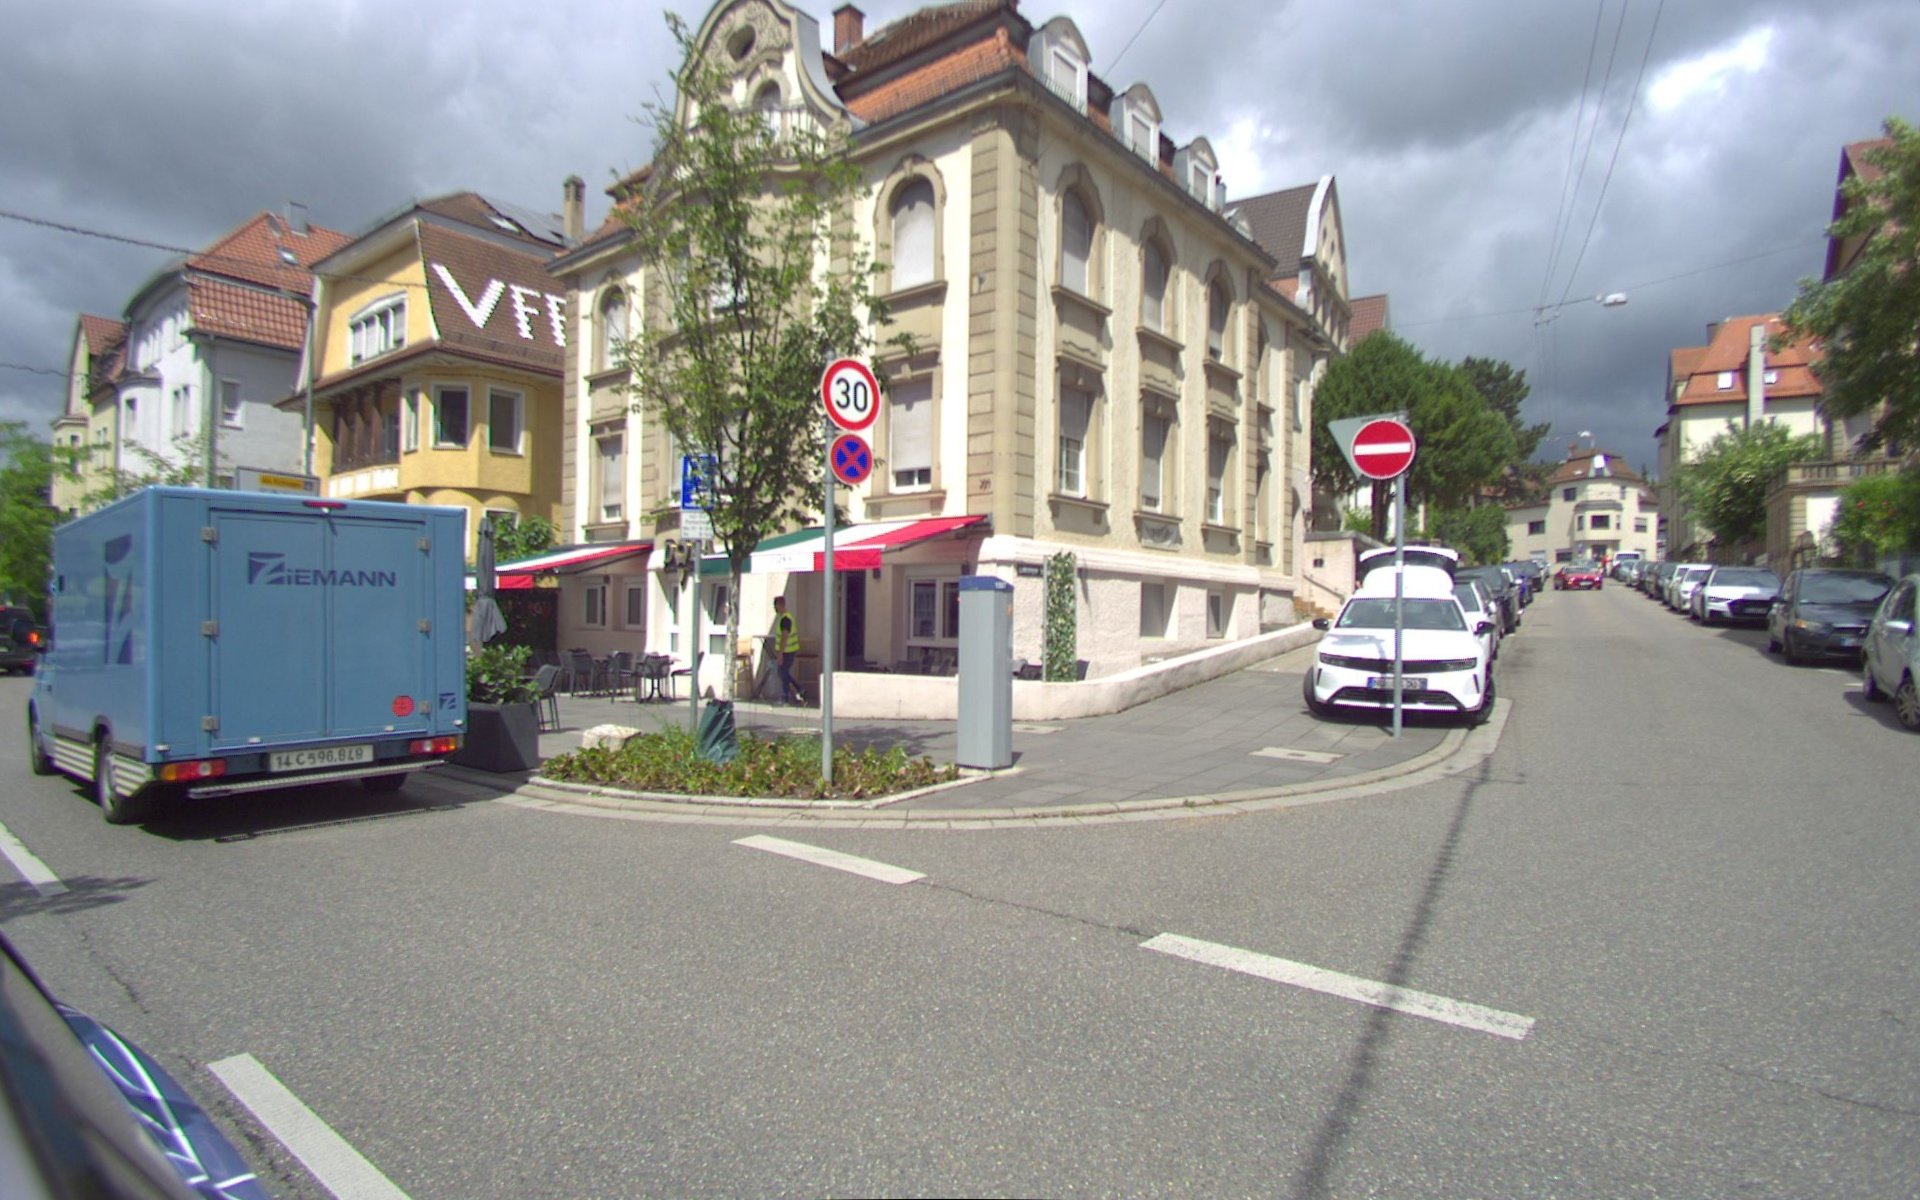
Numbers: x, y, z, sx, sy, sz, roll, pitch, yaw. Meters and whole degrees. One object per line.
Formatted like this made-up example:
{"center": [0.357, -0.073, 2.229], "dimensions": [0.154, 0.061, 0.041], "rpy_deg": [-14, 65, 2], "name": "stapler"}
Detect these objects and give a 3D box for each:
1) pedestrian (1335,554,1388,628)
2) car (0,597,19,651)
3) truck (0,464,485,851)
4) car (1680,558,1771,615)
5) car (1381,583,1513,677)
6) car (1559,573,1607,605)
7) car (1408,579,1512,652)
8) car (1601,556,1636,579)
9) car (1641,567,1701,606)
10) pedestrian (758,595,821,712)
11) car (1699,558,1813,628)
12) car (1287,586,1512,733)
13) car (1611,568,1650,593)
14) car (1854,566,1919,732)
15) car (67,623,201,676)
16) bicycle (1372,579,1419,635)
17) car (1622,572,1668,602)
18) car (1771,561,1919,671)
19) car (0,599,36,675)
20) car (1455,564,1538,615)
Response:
{"center": [11.168, -0.246, 28.139], "dimensions": [0.957, 2.029, 1.040], "rpy_deg": [-1, 0, -41], "name": "pedestrian"}
{"center": [-51.463, 1.242, 52.785], "dimensions": [7.257, 2.692, 2.282], "rpy_deg": [0, 0, 37], "name": "car"}
{"center": [-6.709, 0.350, 9.009], "dimensions": [6.473, 2.322, 2.084], "rpy_deg": [0, 0, 41], "name": "truck"}
{"center": [22.725, -0.405, 30.164], "dimensions": [1.996, 1.573, 4.168], "rpy_deg": [0, 1, 35], "name": "car"}
{"center": [8.469, 0.435, 17.537], "dimensions": [1.822, 1.391, 4.194], "rpy_deg": [-1, 1, 27], "name": "car"}
{"center": [32.142, -0.573, 52.198], "dimensions": [1.994, 1.573, 4.171], "rpy_deg": [0, 1, 33], "name": "car"}
{"center": [10.755, 0.268, 21.770], "dimensions": [1.822, 1.391, 4.194], "rpy_deg": [-1, 1, 27], "name": "car"}
{"center": [48.501, -2.395, 74.488], "dimensions": [1.996, 1.573, 4.168], "rpy_deg": [0, 1, 35], "name": "car"}
{"center": [30.102, -0.597, 42.894], "dimensions": [1.996, 1.573, 4.168], "rpy_deg": [0, 1, 35], "name": "car"}
{"center": [-2.686, 0.807, 15.903], "dimensions": [0.798, 1.770, 0.803], "rpy_deg": [-1, 0, -24], "name": "pedestrian"}
{"center": [19.652, -0.193, 25.153], "dimensions": [1.996, 1.573, 4.168], "rpy_deg": [0, 1, 35], "name": "car"}
{"center": [5.455, 0.562, 12.216], "dimensions": [1.992, 1.391, 4.343], "rpy_deg": [-1, 1, 30], "name": "car"}
{"center": [43.974, -1.286, 66.318], "dimensions": [1.996, 1.573, 4.168], "rpy_deg": [0, 1, 35], "name": "car"}
{"center": [10.999, 0.413, 10.588], "dimensions": [1.996, 1.573, 4.168], "rpy_deg": [0, 1, 35], "name": "car"}
{"center": [-22.212, 1.319, 27.178], "dimensions": [4.457, 1.314, 1.702], "rpy_deg": [-2, -2, 36], "name": "car"}
{"center": [11.809, 0.181, 27.433], "dimensions": [1.002, 1.461, 0.809], "rpy_deg": [-1, 0, -40], "name": "bicycle"}
{"center": [37.019, -0.705, 54.668], "dimensions": [1.996, 1.573, 4.168], "rpy_deg": [0, 1, 35], "name": "car"}
{"center": [14.587, 0.186, 16.388], "dimensions": [1.996, 1.573, 4.168], "rpy_deg": [0, 1, 35], "name": "car"}
{"center": [-26.748, 1.037, 27.540], "dimensions": [5.174, 1.948, 1.851], "rpy_deg": [-3, -3, 42], "name": "car"}
{"center": [17.777, -0.355, 33.441], "dimensions": [1.828, 1.564, 4.181], "rpy_deg": [0, 1, 37], "name": "car"}
